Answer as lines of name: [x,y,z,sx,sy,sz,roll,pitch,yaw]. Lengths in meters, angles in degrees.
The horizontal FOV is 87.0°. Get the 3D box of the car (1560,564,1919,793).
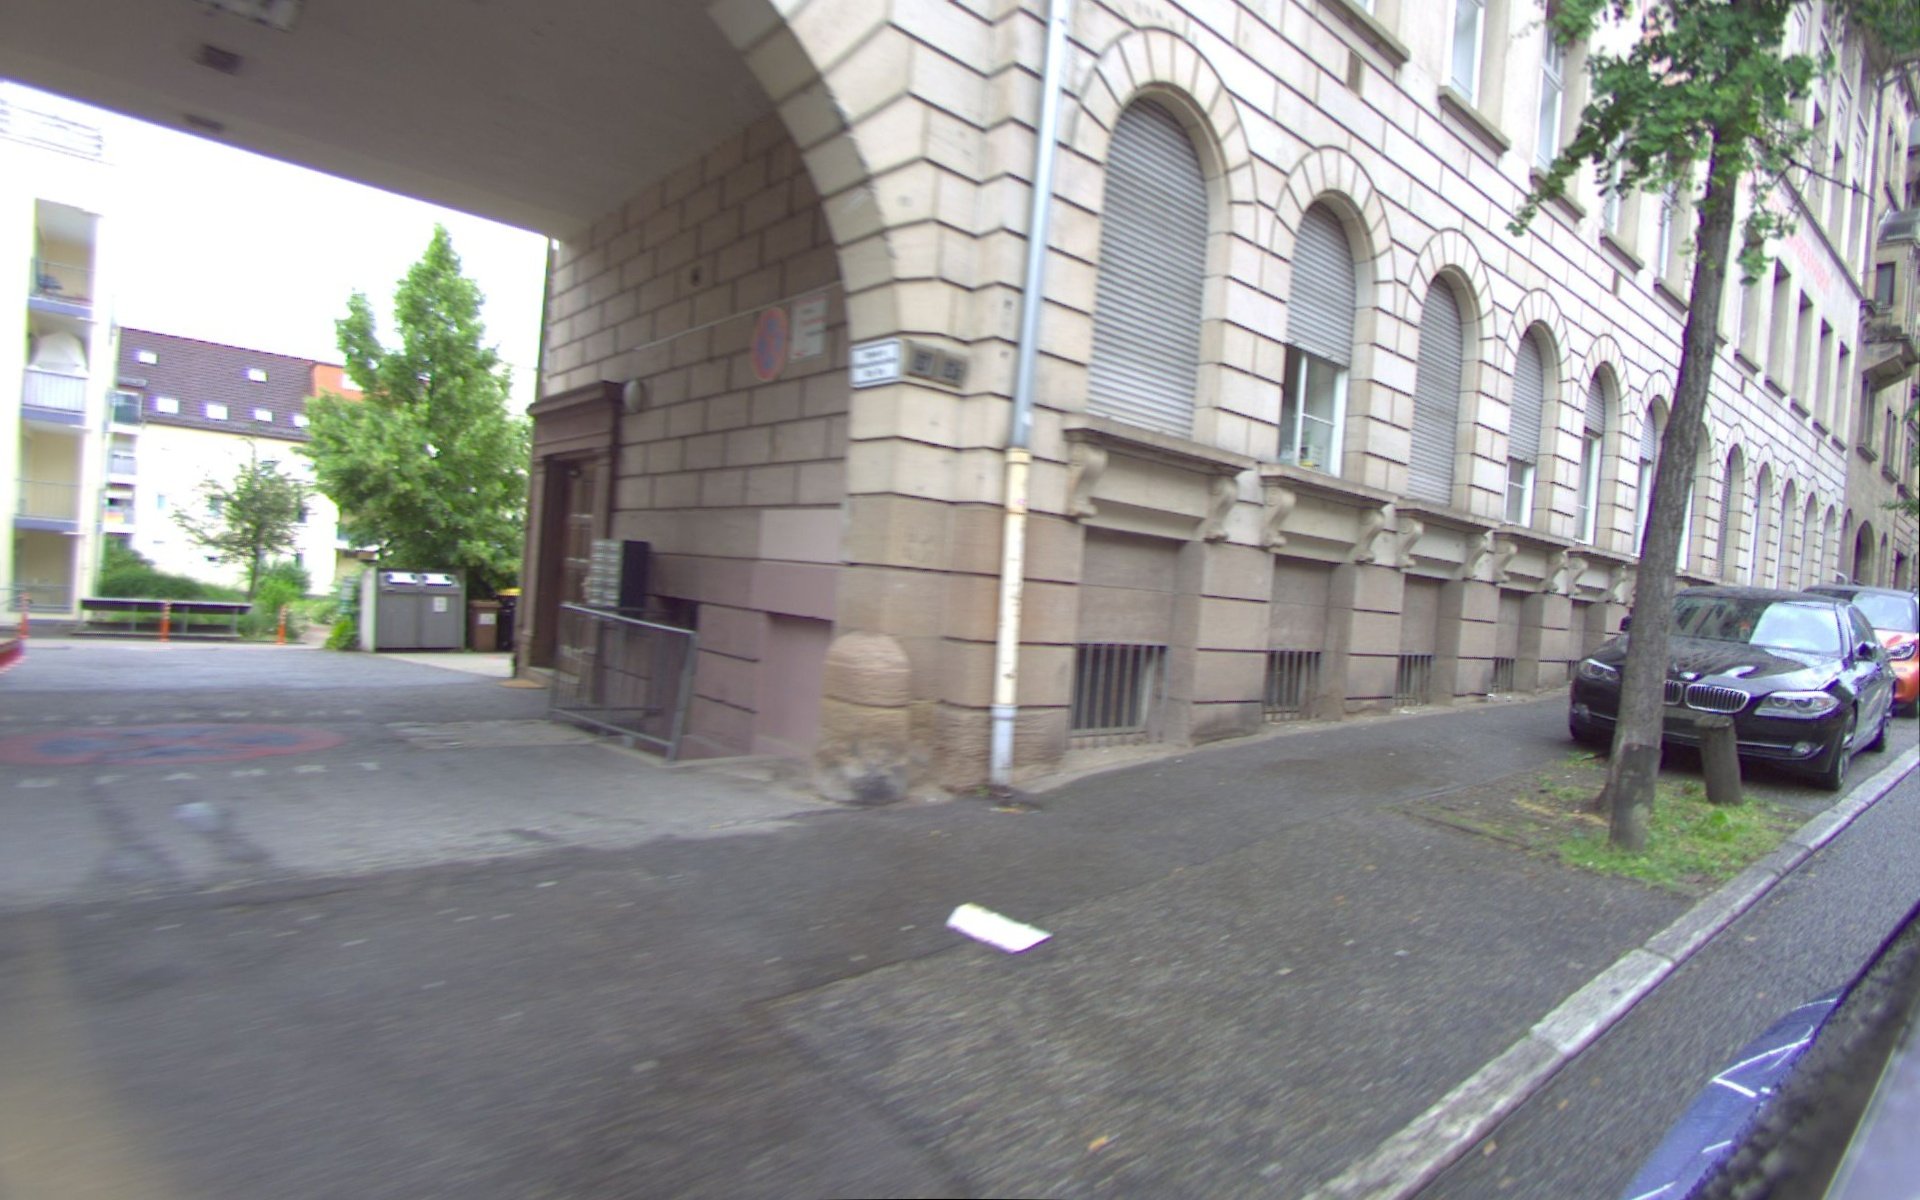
car: [7.305,0.528,9.224,4.642,1.478,1.762,0,5,-42]

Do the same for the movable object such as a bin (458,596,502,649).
movable object such as a bin: [-10.047,0.460,21.165,0.690,1.081,0.640,-1,1,-40]

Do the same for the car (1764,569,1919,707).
car: [12.212,0.446,13.562,3.128,1.538,1.642,0,5,-42]

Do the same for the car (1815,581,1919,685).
car: [15.771,0.510,16.820,4.346,1.448,1.699,0,5,-42]

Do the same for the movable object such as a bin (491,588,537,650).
movable object such as a bin: [-9.477,0.382,21.483,0.690,1.274,0.831,-1,1,-40]
